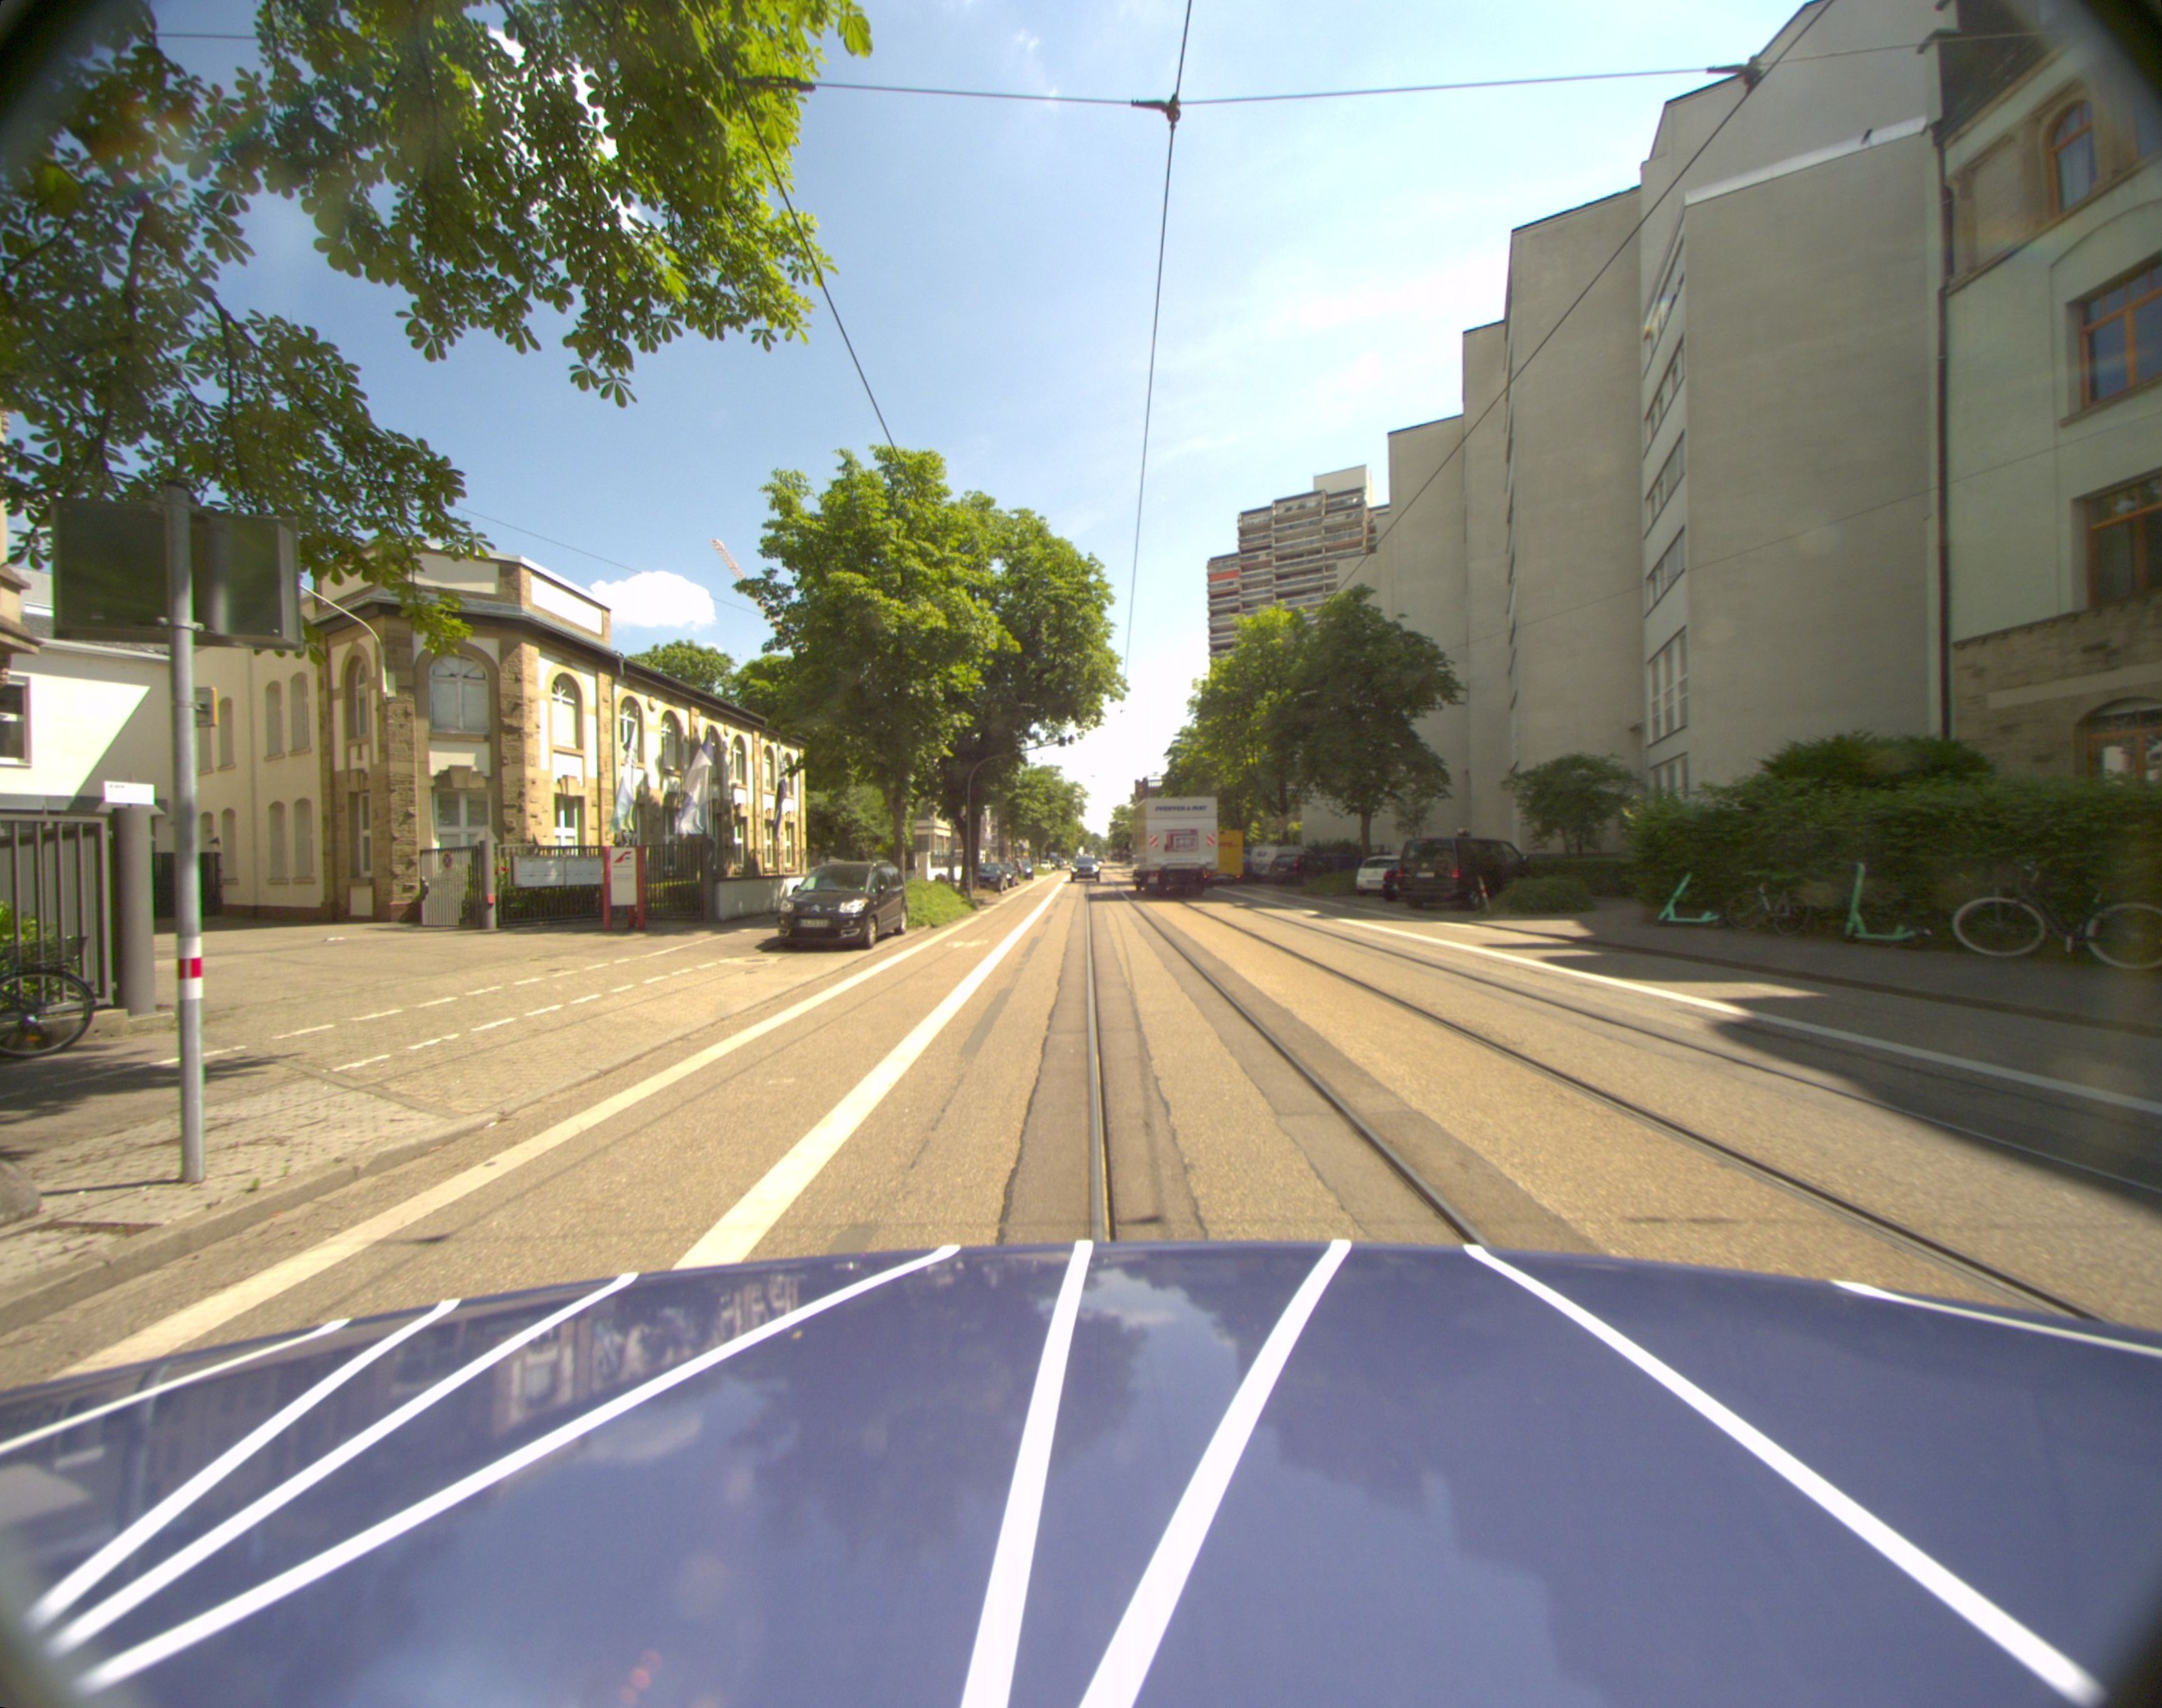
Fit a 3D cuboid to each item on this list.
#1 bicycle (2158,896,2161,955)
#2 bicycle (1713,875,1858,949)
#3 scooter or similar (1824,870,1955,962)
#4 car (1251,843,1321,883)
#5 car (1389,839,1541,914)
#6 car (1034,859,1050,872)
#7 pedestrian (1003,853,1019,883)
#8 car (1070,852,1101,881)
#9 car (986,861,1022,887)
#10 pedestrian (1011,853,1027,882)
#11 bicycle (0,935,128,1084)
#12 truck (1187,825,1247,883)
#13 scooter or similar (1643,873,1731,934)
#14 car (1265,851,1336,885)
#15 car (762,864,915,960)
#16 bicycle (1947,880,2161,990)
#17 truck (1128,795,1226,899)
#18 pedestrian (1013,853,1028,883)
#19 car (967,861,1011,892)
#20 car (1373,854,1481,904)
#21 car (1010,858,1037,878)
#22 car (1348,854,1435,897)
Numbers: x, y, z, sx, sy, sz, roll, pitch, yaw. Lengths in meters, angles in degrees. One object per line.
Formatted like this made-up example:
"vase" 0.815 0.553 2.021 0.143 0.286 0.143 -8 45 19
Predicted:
"bicycle" 10.775 0.872 6.513 0.609 0.983 1.708 -5 0 0
"bicycle" 10.886 0.861 11.824 0.609 0.983 1.708 -5 0 0
"scooter or similar" 10.837 0.796 10.235 0.406 1.113 1.291 -2 0 2
"car" 11.107 0.434 41.093 4.061 2.030 1.598 -1 0 -40
"car" 10.937 0.557 21.528 4.595 1.914 1.957 -1 0 -37
"car" -4.600 1.384 90.634 1.626 1.395 4.000 1 0 0
"pedestrian" -4.353 0.886 47.301 0.645 1.839 0.741 -1 1 27
"car" 0.298 0.765 47.427 1.752 1.641 4.298 -3 0 1
"car" -4.399 1.111 43.930 1.626 1.395 4.000 1 0 0
"pedestrian" -3.944 0.848 48.308 0.741 1.839 0.645 -1 1 -25
"bicycle" -8.627 1.241 5.610 0.609 1.065 1.980 -1 0 2
"truck" 7.347 -0.005 41.890 2.306 2.903 6.516 -1 0 2
"scooter or similar" 10.845 0.866 13.628 0.407 1.014 1.222 -1 0 -15
"car" 10.917 0.660 37.639 3.692 1.566 1.678 -1 1 -42
"car" -4.735 1.056 15.476 1.734 1.606 4.084 1 0 1
"bicycle" 10.893 0.834 8.410 0.609 0.983 1.708 -5 0 0
"truck" 3.643 -0.247 30.909 2.792 3.598 8.255 -1 0 -1
"pedestrian" -3.740 0.846 46.789 0.645 1.839 0.741 -1 1 18
"car" -4.452 1.055 37.269 1.626 1.395 3.823 1 0 0
"car" 11.393 0.773 24.910 3.952 1.445 1.678 -1 0 -40
"car" -4.261 1.023 56.427 1.626 1.395 4.000 1 0 0
"car" 11.528 0.757 28.094 1.722 1.445 3.635 -1 0 45
